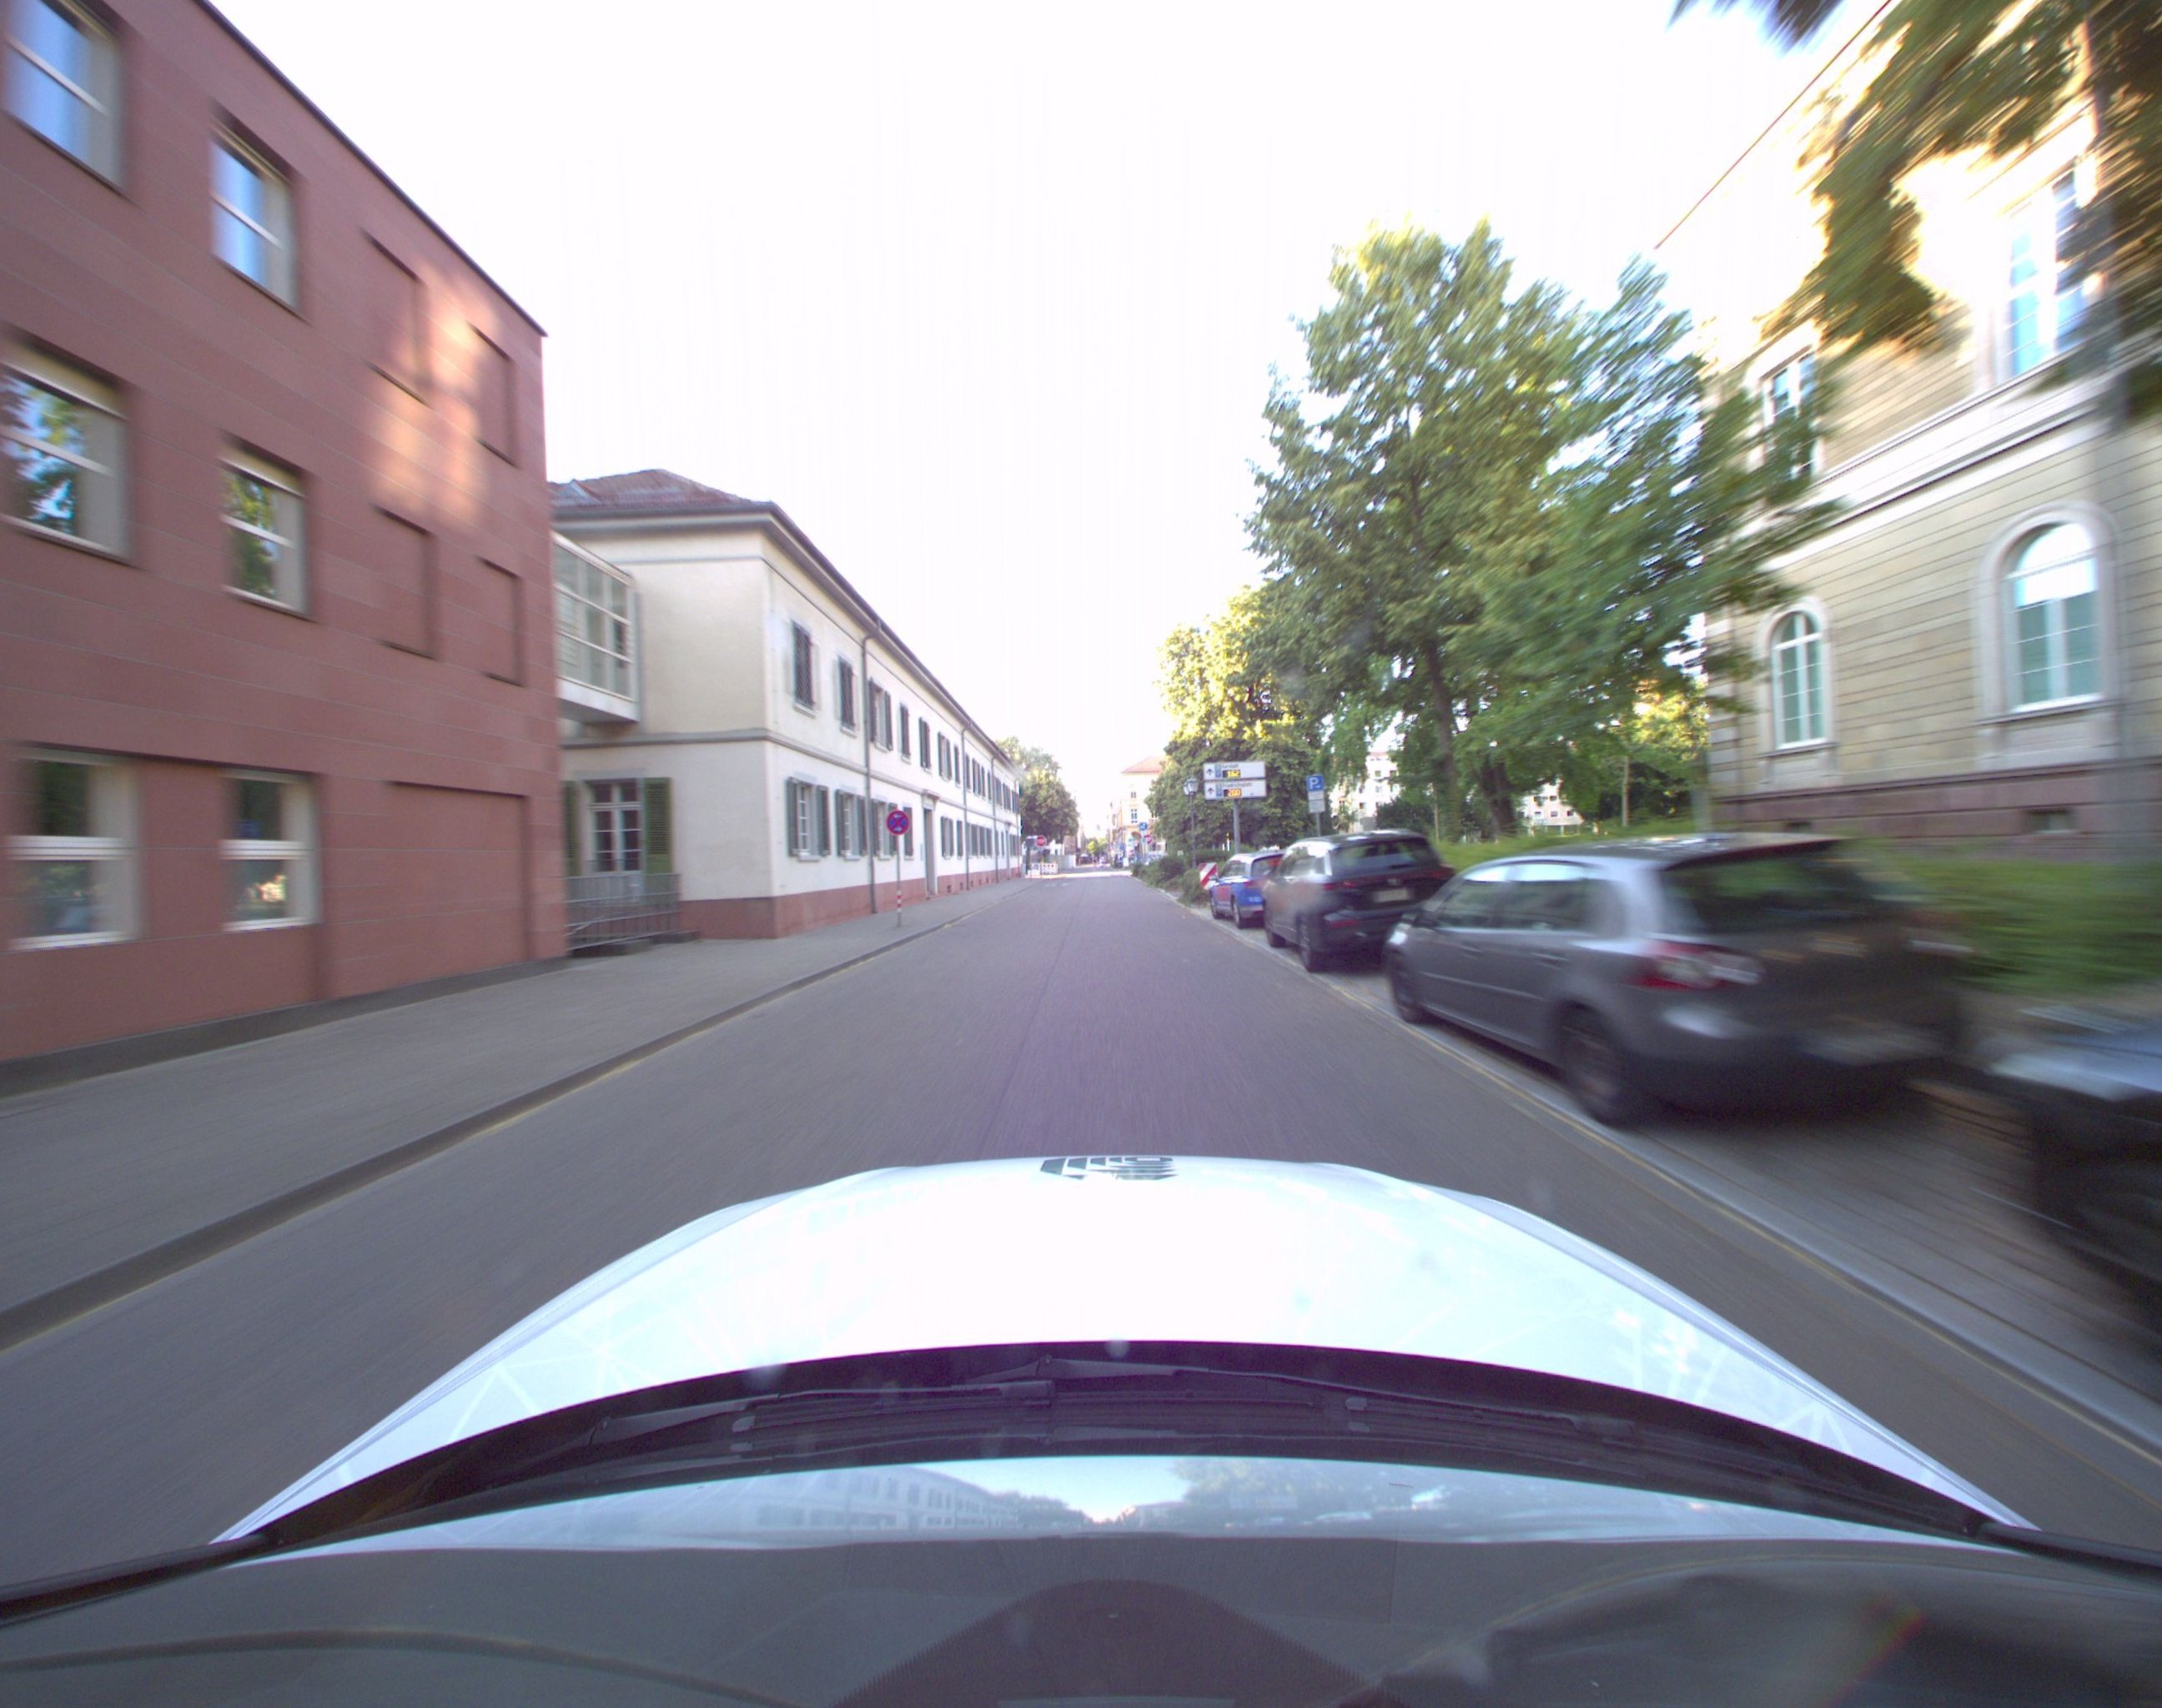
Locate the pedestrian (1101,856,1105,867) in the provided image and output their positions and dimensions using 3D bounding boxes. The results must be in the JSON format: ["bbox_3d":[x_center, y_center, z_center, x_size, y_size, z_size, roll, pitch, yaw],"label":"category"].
[{"bbox_3d":[3.476,1.157,128.197,0.655,1.635,0.745,-3,0,1],"label":"pedestrian"}]

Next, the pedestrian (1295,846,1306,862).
[{"bbox_3d":[18.439,0.003,68.550,0.595,1.342,0.817,-3,-1,-5],"label":"pedestrian"}]

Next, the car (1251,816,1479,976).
[{"bbox_3d":[3.575,0.482,11.229,1.716,1.651,4.718,-3,-1,4],"label":"car"}]

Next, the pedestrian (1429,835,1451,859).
[{"bbox_3d":[21.064,-0.431,47.790,0.760,1.347,0.784,-3,-1,-15],"label":"pedestrian"}]

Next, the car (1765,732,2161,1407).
[{"bbox_3d":[3.471,0.457,0.784,1.801,1.651,4.419,-7,0,1],"label":"car"}]

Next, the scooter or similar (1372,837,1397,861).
[{"bbox_3d":[16.660,-0.258,44.760,1.219,1.245,0.416,-3,-1,-16],"label":"scooter or similar"}]

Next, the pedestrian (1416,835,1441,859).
[{"bbox_3d":[20.253,-0.424,47.433,0.918,1.347,0.880,-3,-1,-15],"label":"pedestrian"}]

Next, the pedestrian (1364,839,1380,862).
[{"bbox_3d":[15.967,-0.185,44.688,0.656,1.191,0.800,-3,-1,29],"label":"pedestrian"}]

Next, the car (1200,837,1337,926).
[{"bbox_3d":[3.830,0.522,17.471,1.719,1.488,4.609,-6,0,0],"label":"car"}]

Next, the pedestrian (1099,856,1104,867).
[{"bbox_3d":[3.220,1.156,126.591,0.655,1.617,0.745,-3,0,1],"label":"pedestrian"}]

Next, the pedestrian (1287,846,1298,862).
[{"bbox_3d":[17.784,0.016,68.513,0.595,1.342,0.817,-3,-1,-5],"label":"pedestrian"}]

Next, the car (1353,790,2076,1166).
[{"bbox_3d":[3.452,0.563,5.640,1.718,1.538,4.189,-3,-1,1],"label":"car"}]
